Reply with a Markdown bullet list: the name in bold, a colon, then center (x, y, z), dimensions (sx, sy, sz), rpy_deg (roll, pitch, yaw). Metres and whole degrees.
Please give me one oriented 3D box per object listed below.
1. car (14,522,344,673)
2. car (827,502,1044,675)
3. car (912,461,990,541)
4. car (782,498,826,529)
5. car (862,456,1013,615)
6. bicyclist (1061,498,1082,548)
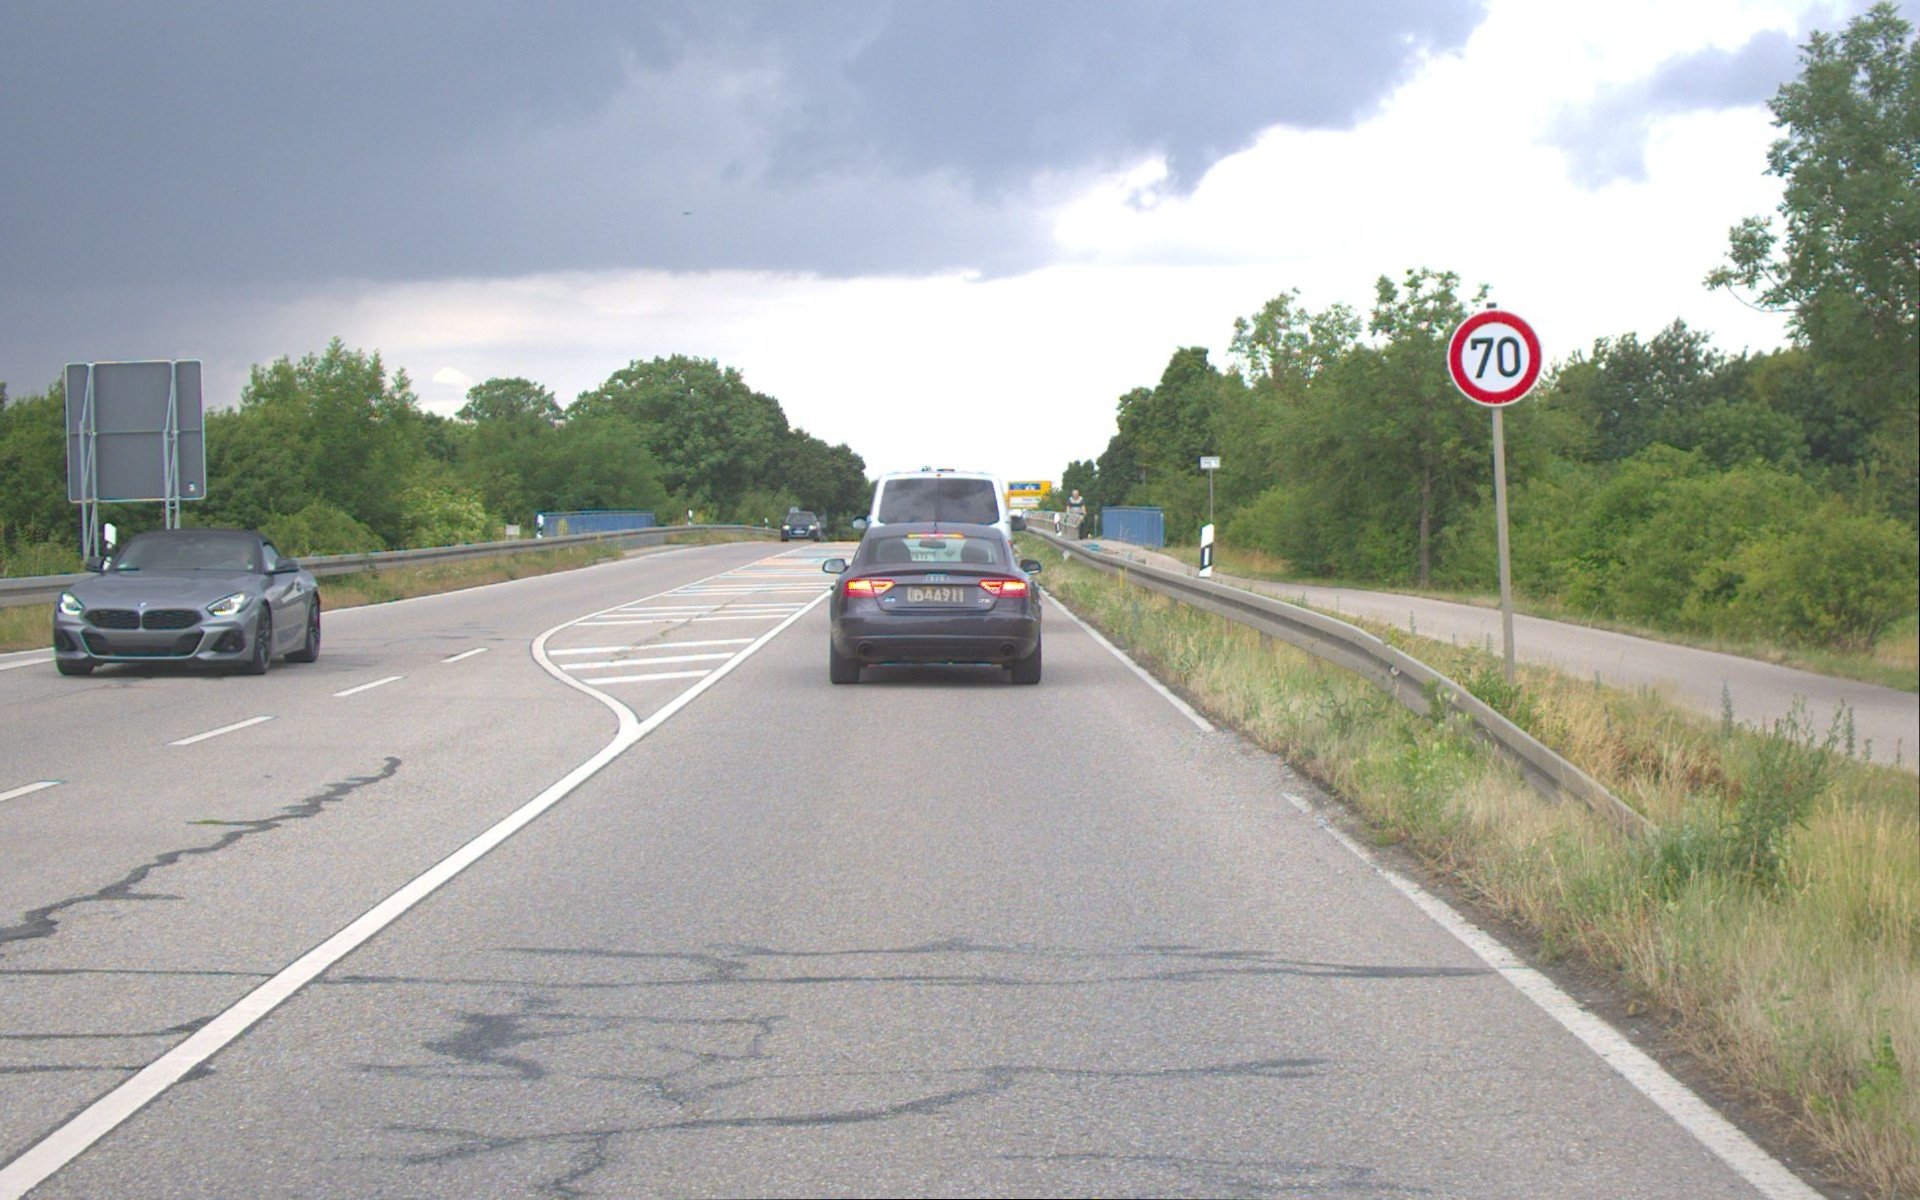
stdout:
- **car**: center (-7.180, -0.067, 32.063), dimensions (2.164, 1.280, 4.238), rpy_deg (1, 1, -1)
- **car**: center (-0.214, -0.133, 30.561), dimensions (1.786, 1.419, 4.000), rpy_deg (1, 1, 0)
- **car**: center (-0.272, -3.222, 111.720), dimensions (2.447, 2.495, 5.042), rpy_deg (1, 2, 0)
- **car**: center (-7.294, -4.065, 160.830), dimensions (1.862, 1.371, 4.000), rpy_deg (2, 1, 0)
- **car**: center (-0.278, -0.812, 43.023), dimensions (1.786, 1.883, 4.000), rpy_deg (1, 1, 0)
- **bicyclist**: center (3.638, -2.530, 112.569), dimensions (0.647, 1.639, 0.866), rpy_deg (-1, 1, 0)
